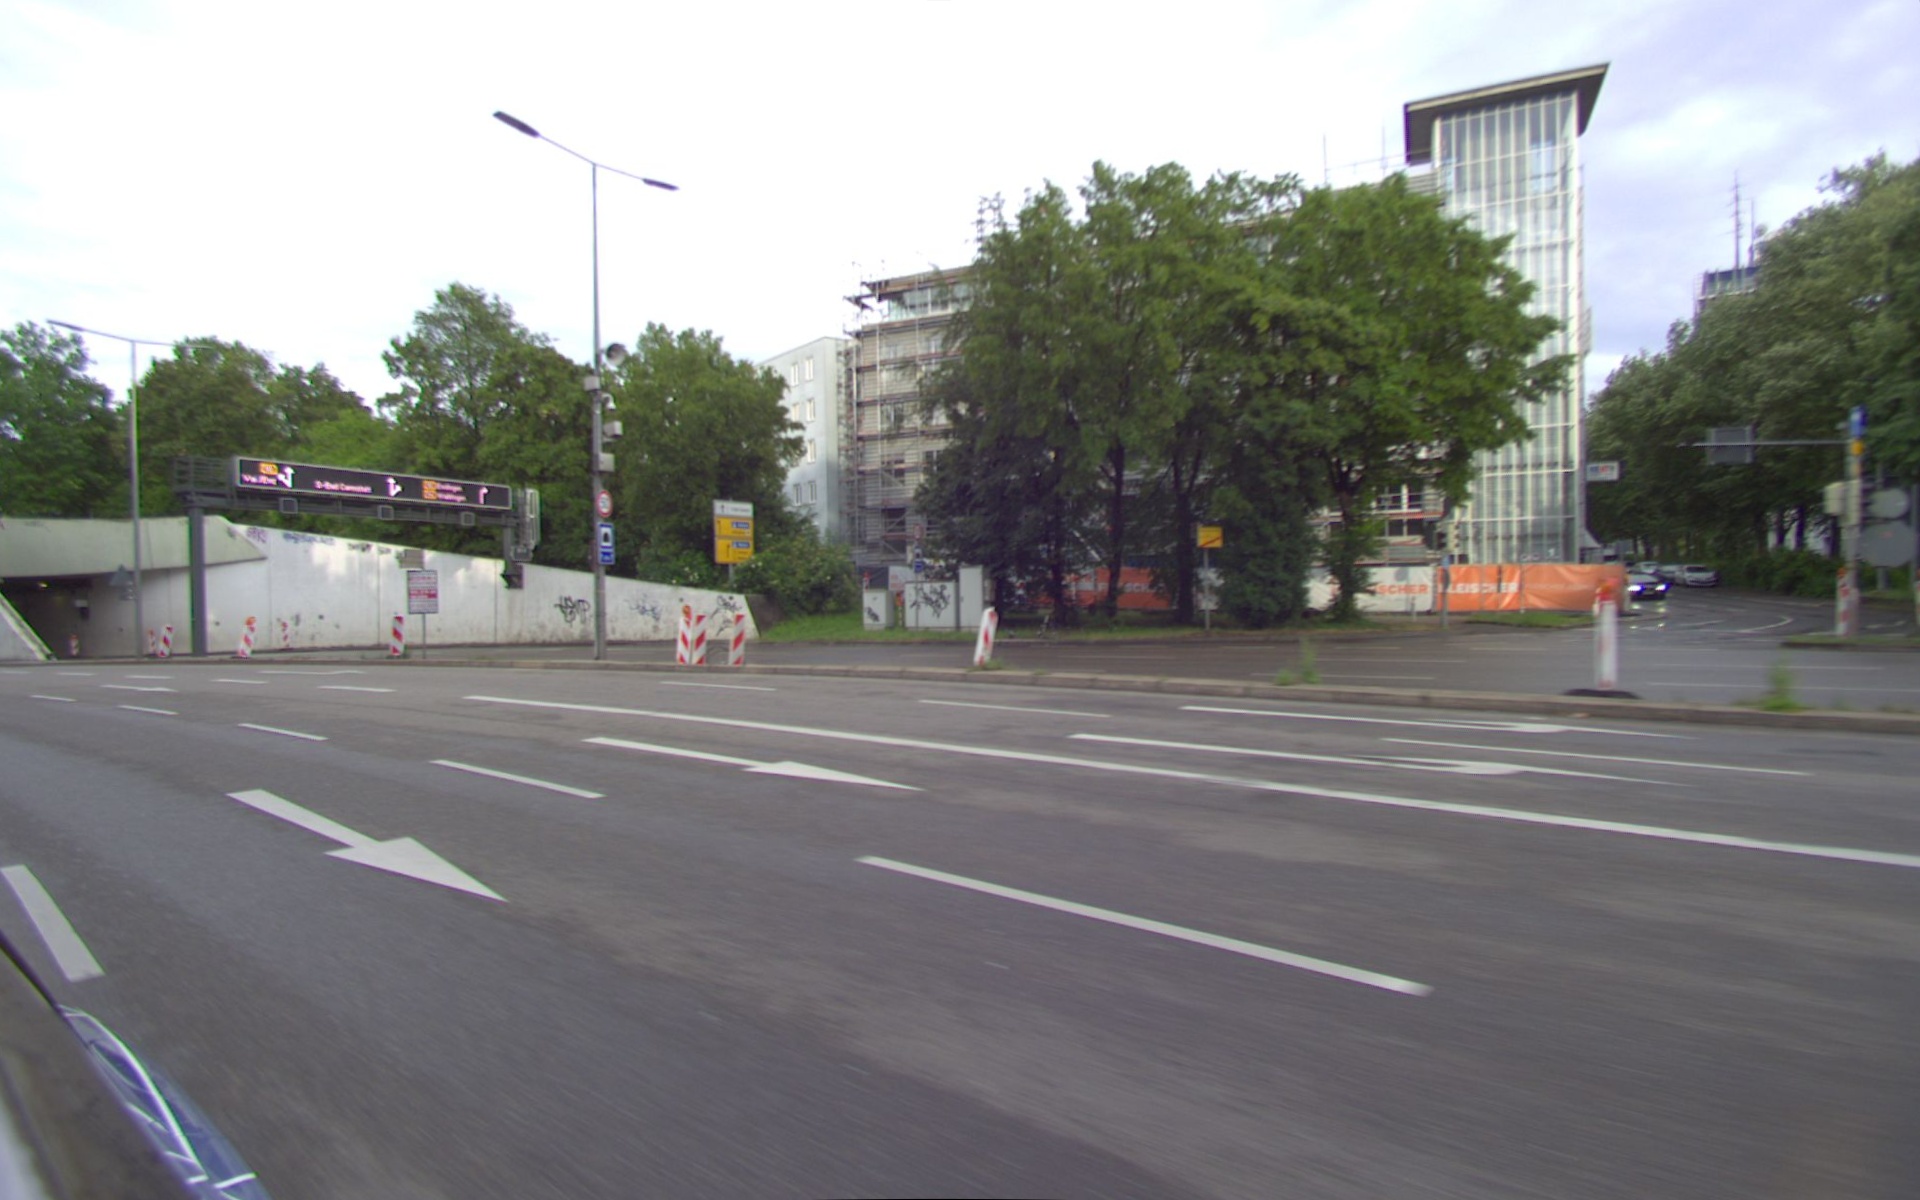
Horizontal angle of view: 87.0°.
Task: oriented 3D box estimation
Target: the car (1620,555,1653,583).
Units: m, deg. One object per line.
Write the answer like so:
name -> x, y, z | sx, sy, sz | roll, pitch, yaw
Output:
car -> 65.687, -3.026, 98.321 | 2.096, 2.500, 4.697 | -1, 2, 27

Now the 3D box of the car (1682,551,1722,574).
car -> 56.383, -2.831, 76.974 | 1.801, 1.638, 3.963 | -1, 2, 27

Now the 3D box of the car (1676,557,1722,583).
car -> 48.998, -2.008, 67.162 | 1.801, 1.638, 3.963 | -1, 2, 27

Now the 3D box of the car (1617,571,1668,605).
car -> 36.880, -0.667, 54.738 | 1.801, 1.638, 3.963 | -1, 2, 27
